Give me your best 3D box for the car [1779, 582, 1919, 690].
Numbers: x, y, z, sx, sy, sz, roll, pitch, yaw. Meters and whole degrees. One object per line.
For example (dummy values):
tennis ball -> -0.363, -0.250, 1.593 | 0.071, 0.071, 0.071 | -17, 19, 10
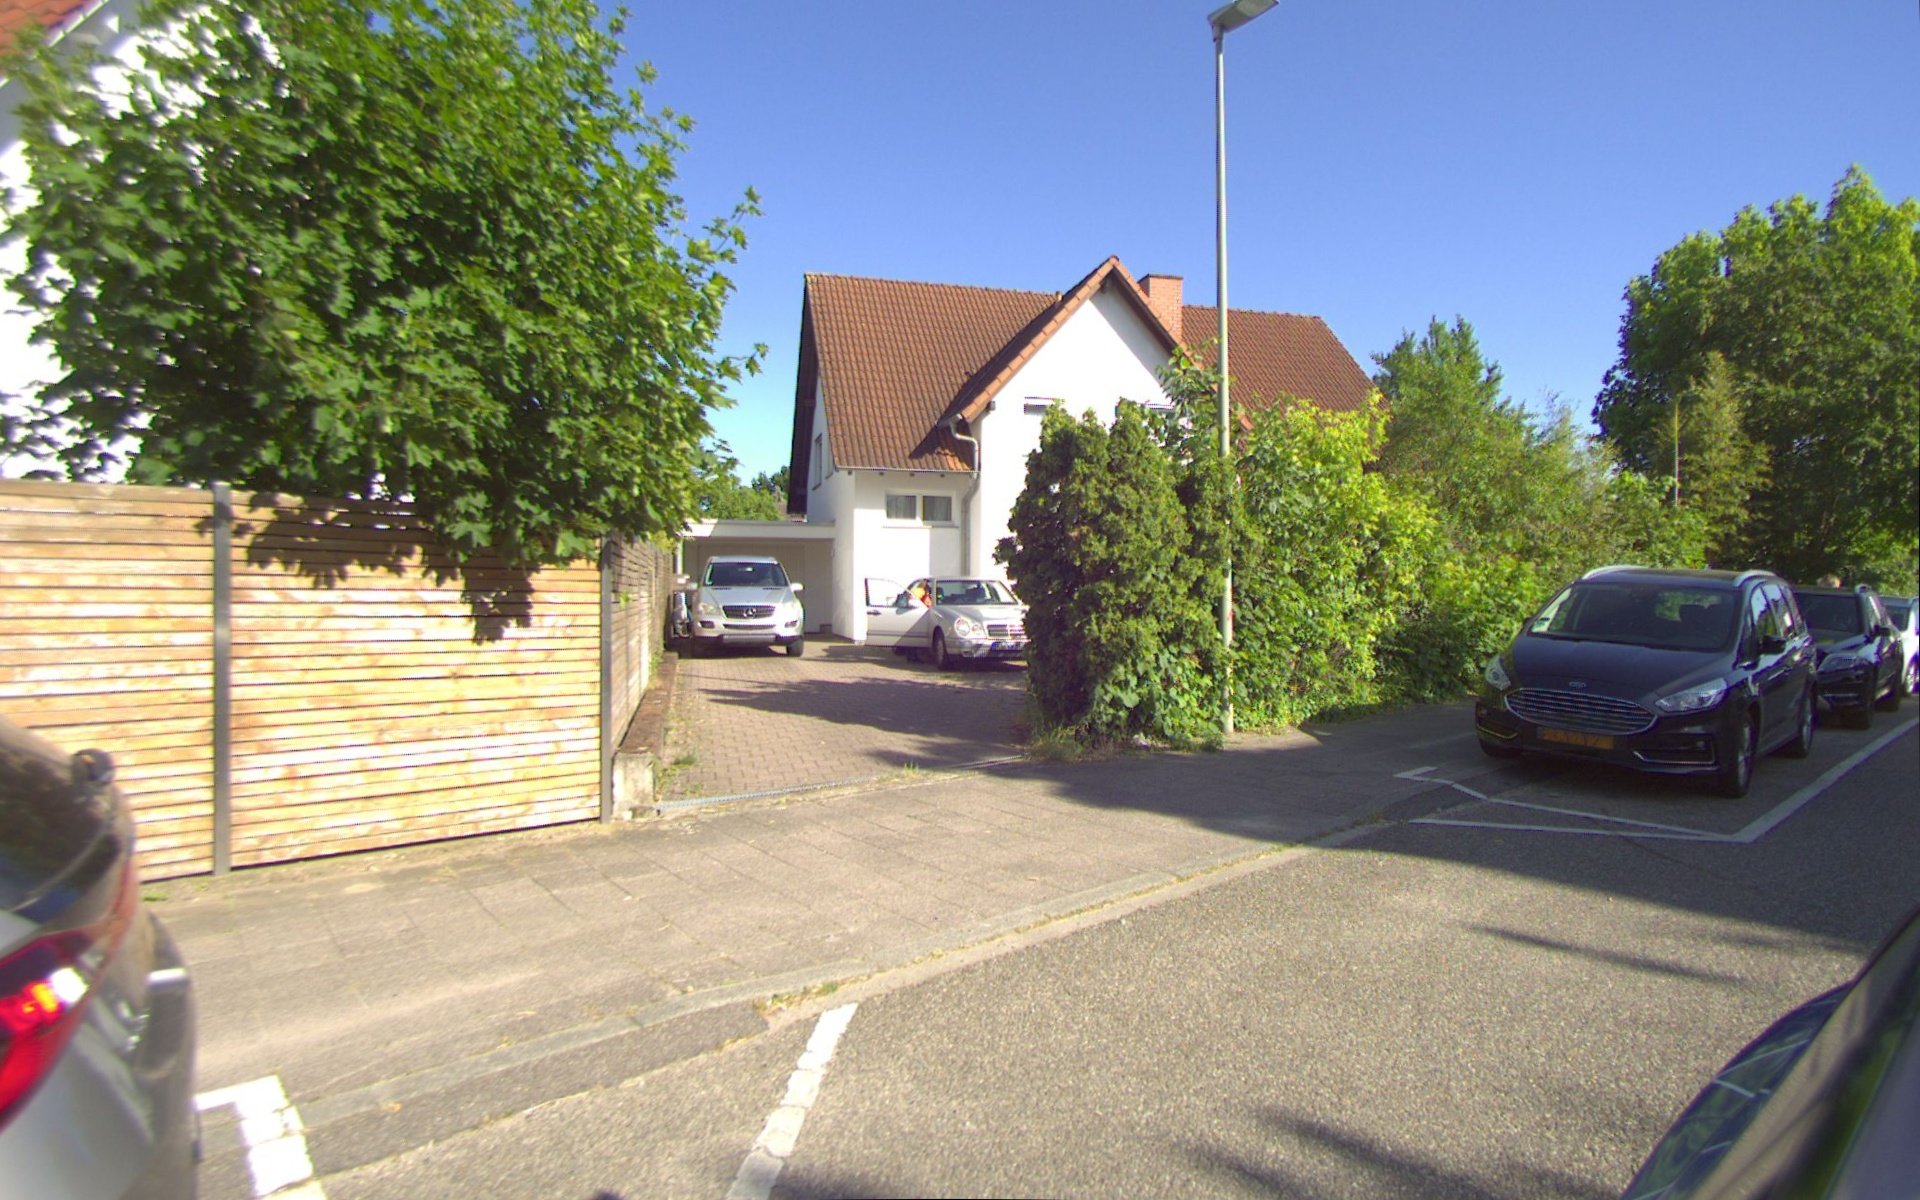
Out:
car -> 15.493, 0.503, 16.813 | 4.573, 1.583, 1.769 | 0, 1, -35

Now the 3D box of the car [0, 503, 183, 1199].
car -> -2.998, 0.637, 0.728 | 3.820, 1.512, 1.645 | 0, 1, -40

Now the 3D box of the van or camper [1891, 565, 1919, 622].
van or camper -> 35.891, -0.214, 35.841 | 1.910, 2.039, 3.861 | 0, 1, -14

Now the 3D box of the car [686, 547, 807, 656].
car -> -4.019, -0.036, 18.743 | 1.945, 1.771, 4.479 | 0, 1, -14

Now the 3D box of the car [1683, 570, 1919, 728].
car -> 10.938, 0.499, 12.956 | 4.317, 1.697, 1.766 | 0, 1, -41

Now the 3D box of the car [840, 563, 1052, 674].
car -> -0.466, 0.195, 17.042 | 2.468, 1.558, 5.106 | 0, 1, -14

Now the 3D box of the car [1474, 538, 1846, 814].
car -> 6.276, 0.474, 8.859 | 4.354, 1.836, 1.745 | 0, 1, -42
